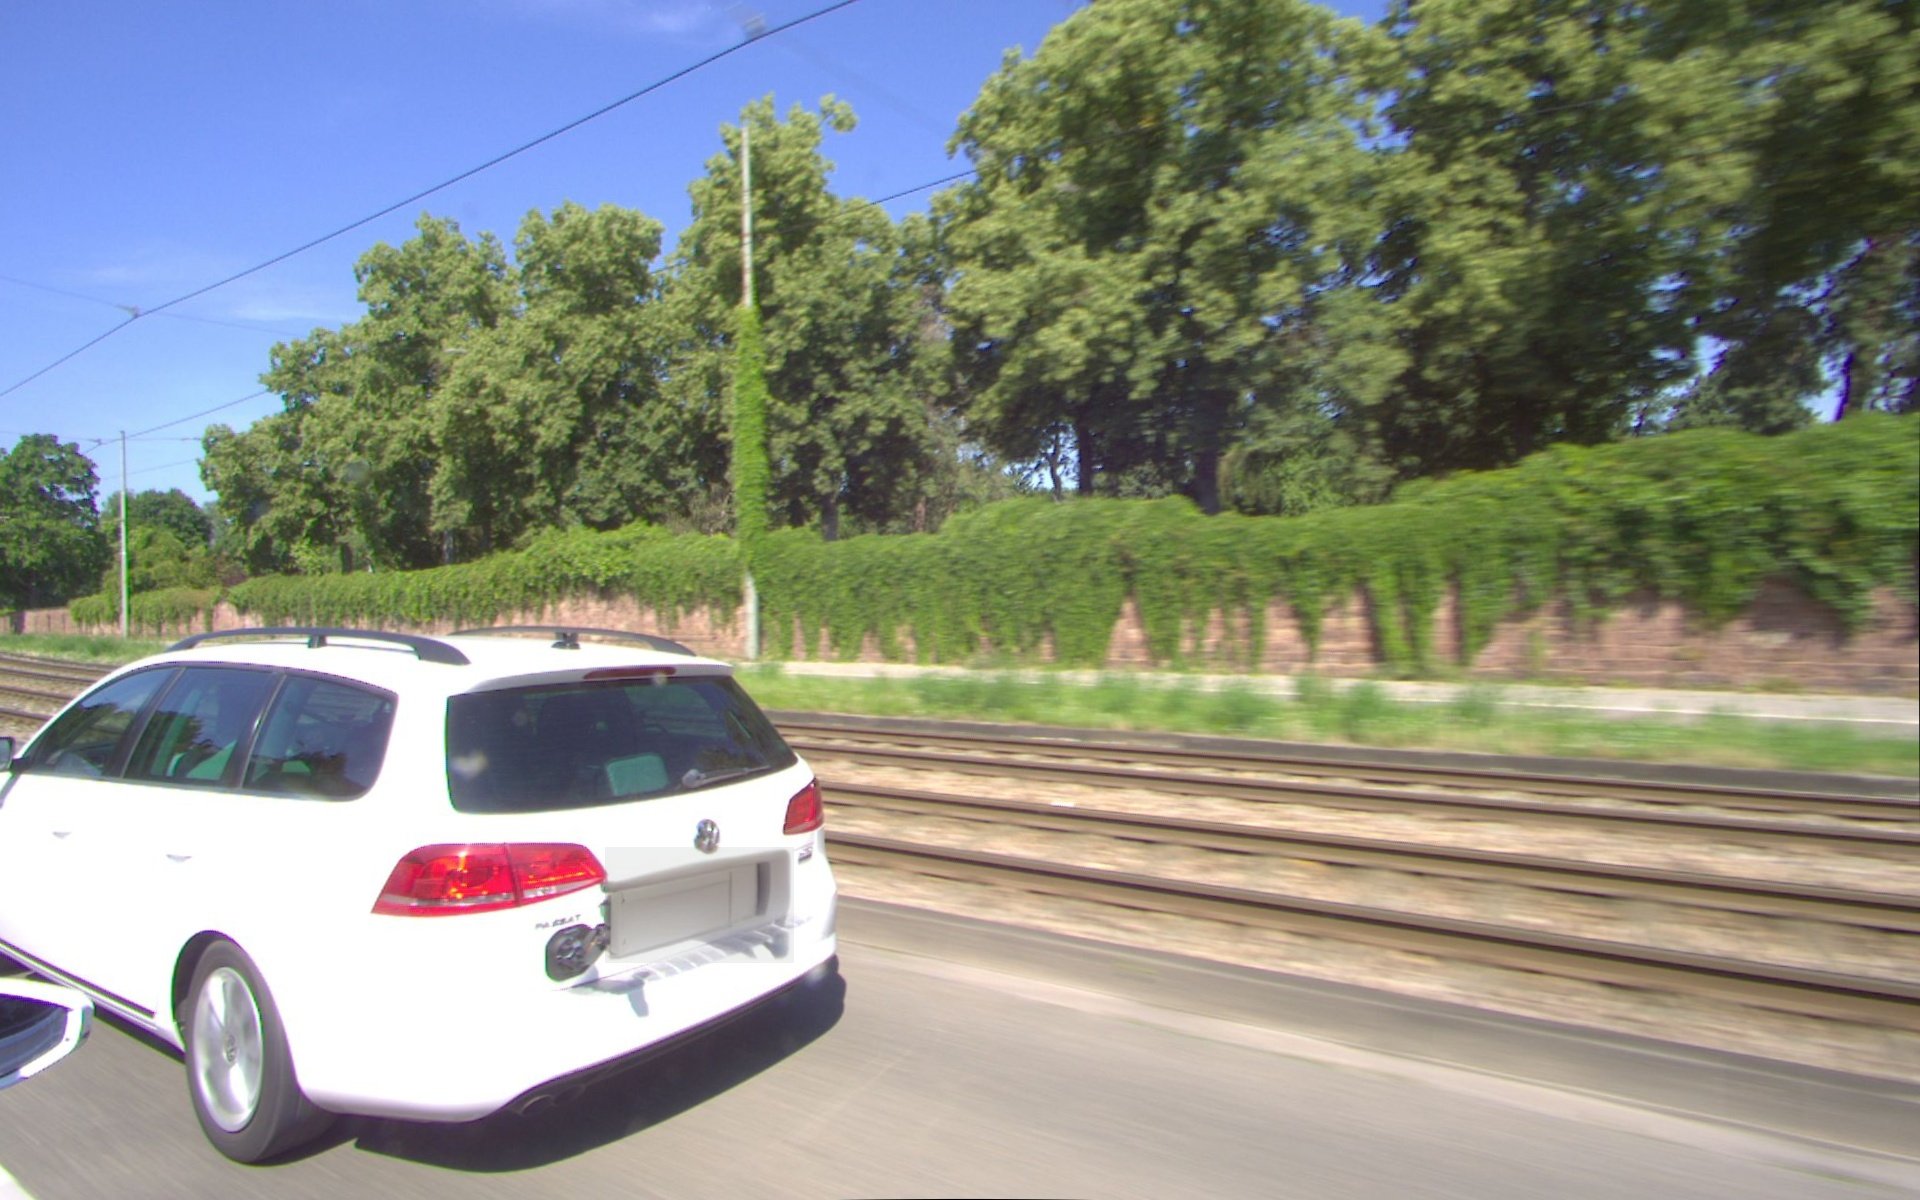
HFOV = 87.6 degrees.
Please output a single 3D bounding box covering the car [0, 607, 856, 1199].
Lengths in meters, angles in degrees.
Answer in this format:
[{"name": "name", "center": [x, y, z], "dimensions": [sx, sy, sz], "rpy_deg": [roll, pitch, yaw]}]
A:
[{"name": "car", "center": [-2.689, 0.786, 4.158], "dimensions": [4.394, 1.470, 1.688], "rpy_deg": [-1, 0, 32]}]
